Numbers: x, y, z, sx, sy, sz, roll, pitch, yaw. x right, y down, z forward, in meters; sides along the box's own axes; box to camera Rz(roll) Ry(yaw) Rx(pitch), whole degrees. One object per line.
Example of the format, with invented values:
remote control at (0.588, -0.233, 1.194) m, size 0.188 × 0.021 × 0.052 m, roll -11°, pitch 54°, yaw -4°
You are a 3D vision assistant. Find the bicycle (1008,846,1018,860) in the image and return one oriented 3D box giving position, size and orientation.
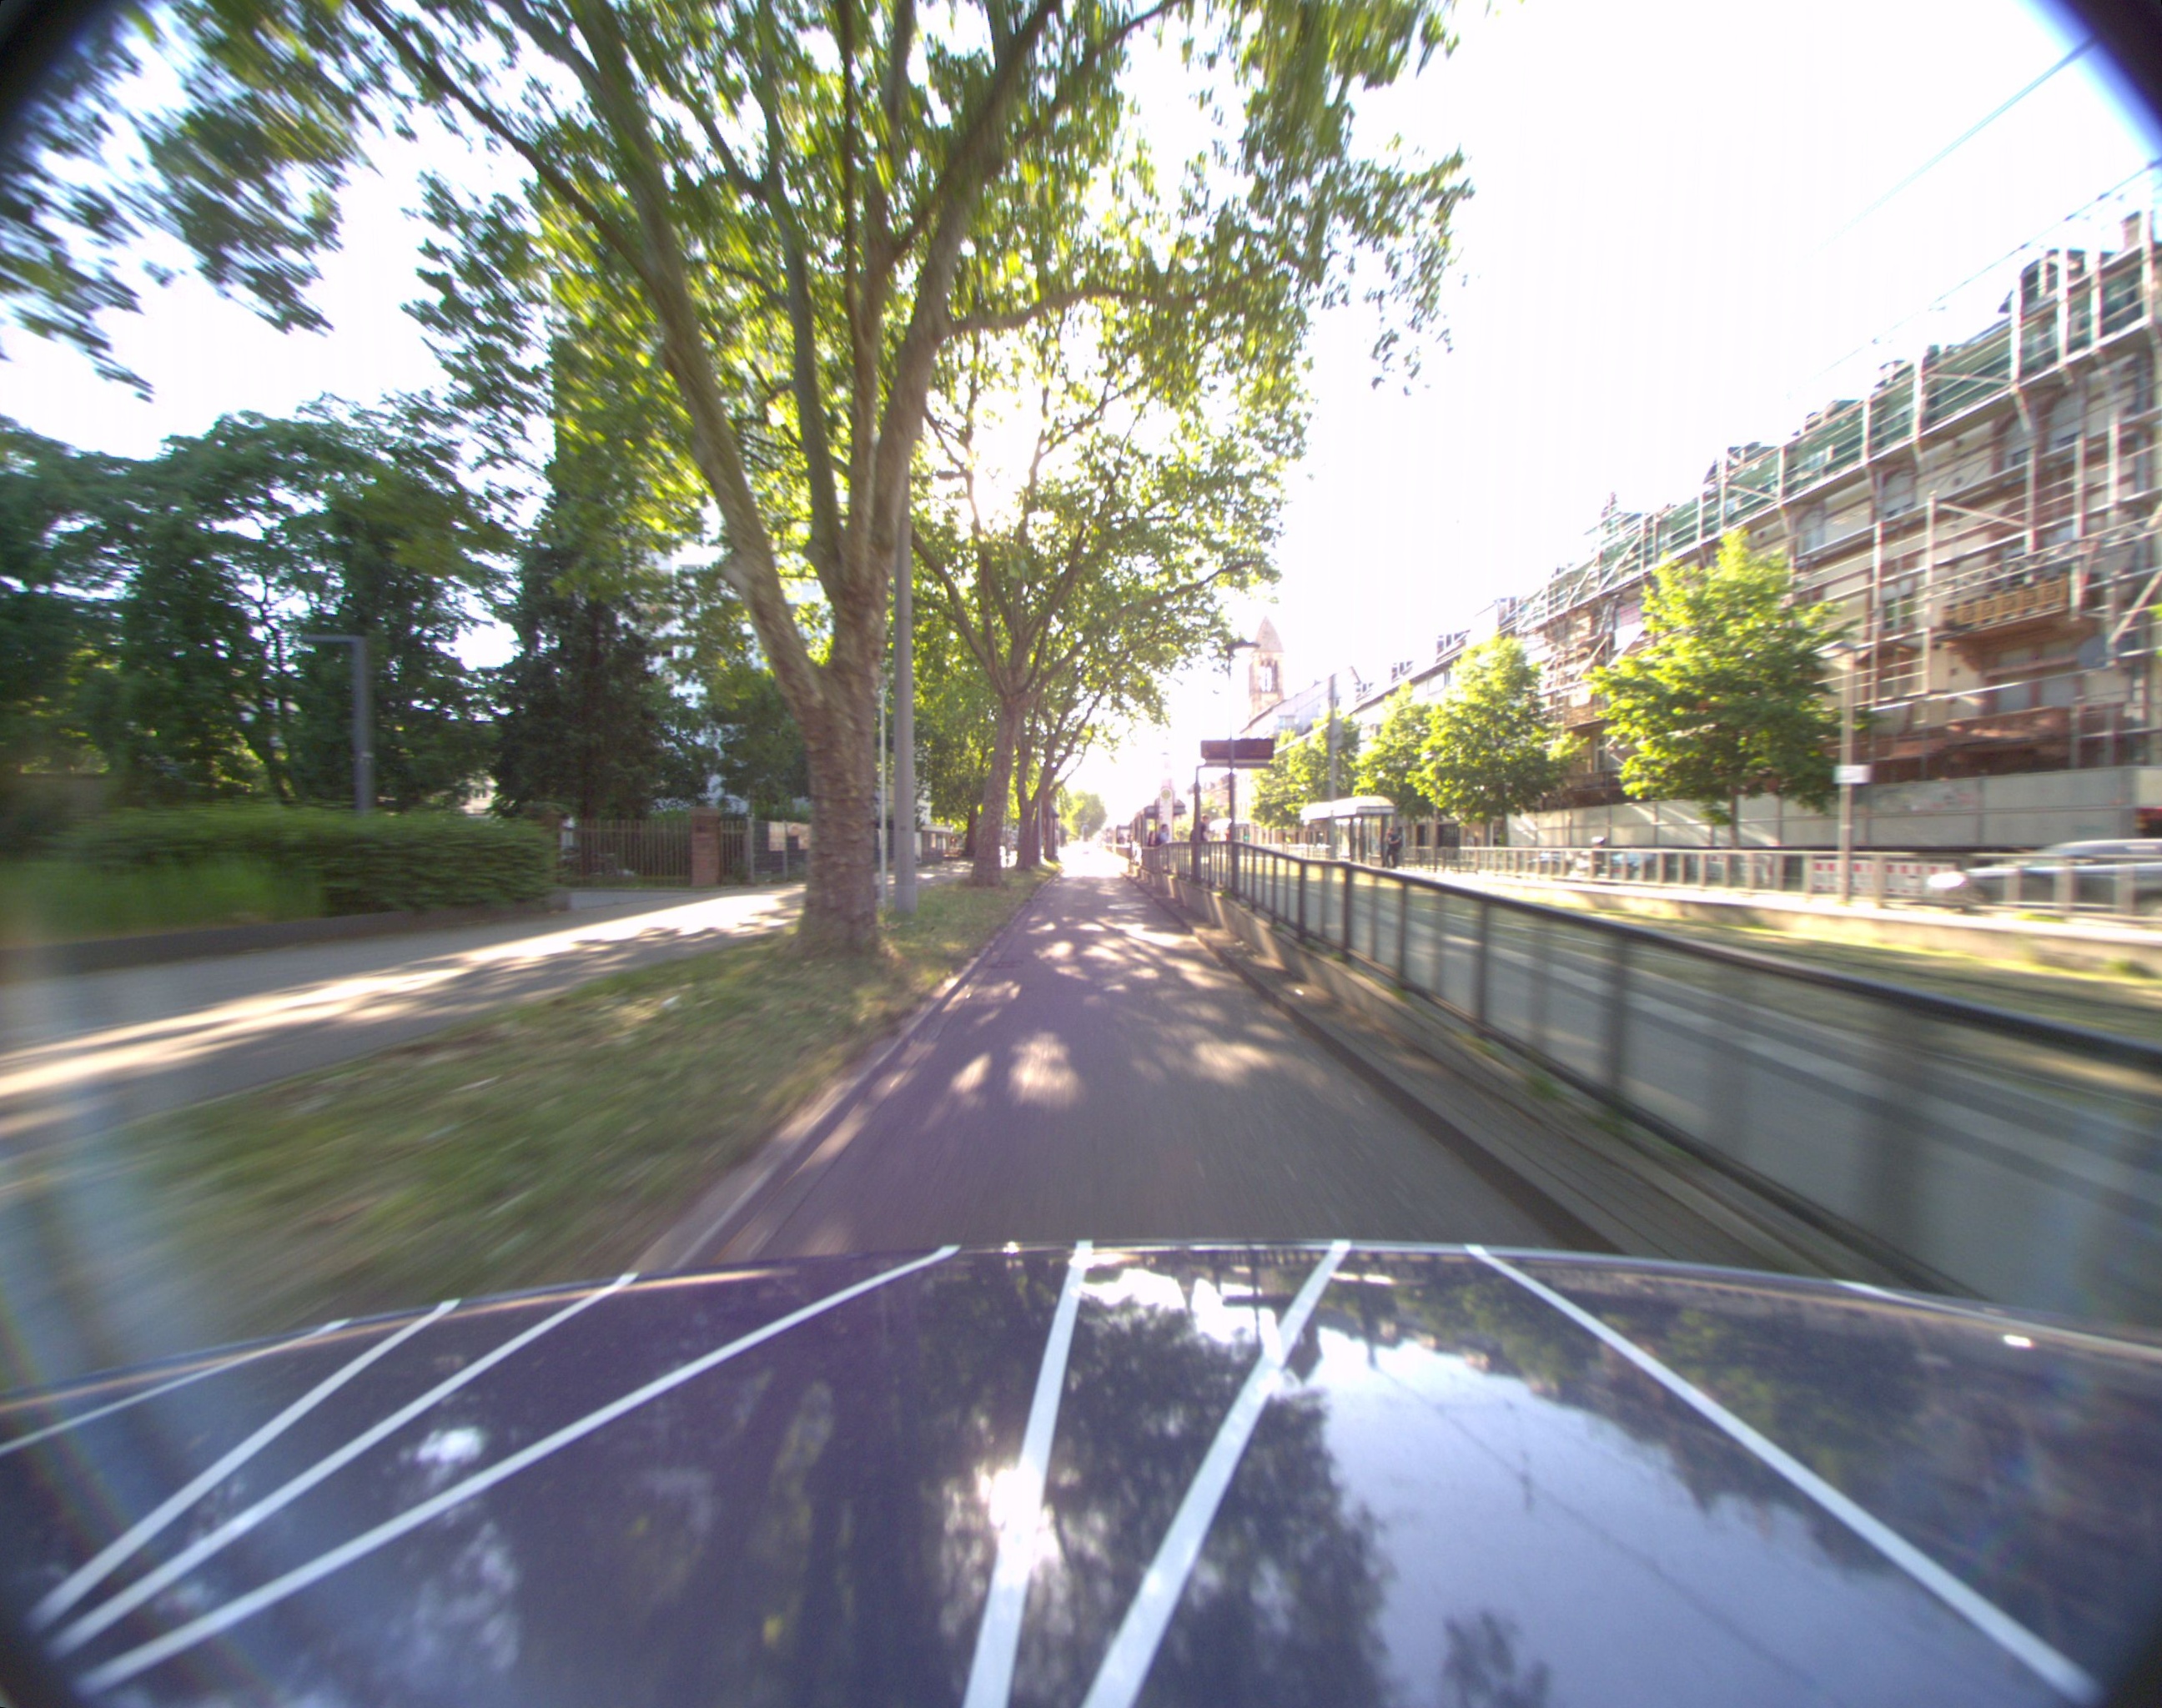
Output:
bicycle at (-4.990, -0.101, 56.112) m, size 0.604 × 1.020 × 1.766 m, roll 0°, pitch 1°, yaw 0°

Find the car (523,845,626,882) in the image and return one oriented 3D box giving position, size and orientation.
car at (-22.353, 0.367, 33.751) m, size 1.999 × 1.445 × 3.998 m, roll -2°, pitch 1°, yaw -3°

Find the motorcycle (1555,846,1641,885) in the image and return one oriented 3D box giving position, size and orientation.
motorcycle at (15.652, 0.314, 23.097) m, size 0.820 × 1.067 × 2.400 m, roll -2°, pitch 1°, yaw -4°

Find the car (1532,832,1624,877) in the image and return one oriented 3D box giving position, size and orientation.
car at (24.147, -0.002, 37.099) m, size 1.998 × 2.002 × 4.000 m, roll -2°, pitch 1°, yaw 2°

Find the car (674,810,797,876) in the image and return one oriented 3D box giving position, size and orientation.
car at (-14.466, -0.493, 32.369) m, size 1.998 × 2.485 × 6.346 m, roll -2°, pitch 1°, yaw 3°

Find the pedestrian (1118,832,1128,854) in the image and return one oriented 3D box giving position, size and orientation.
pedestrian at (3.723, -0.959, 67.008) m, size 0.671 × 1.892 × 0.823 m, roll -2°, pitch 2°, yaw -7°

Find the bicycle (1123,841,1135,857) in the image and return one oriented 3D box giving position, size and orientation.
bicycle at (3.417, -0.363, 54.306) m, size 0.739 × 1.127 × 2.030 m, roll -2°, pitch 1°, yaw 0°

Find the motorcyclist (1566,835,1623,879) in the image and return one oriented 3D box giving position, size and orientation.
motorcyclist at (15.631, 0.072, 23.149) m, size 0.820 × 1.292 × 1.275 m, roll -2°, pitch 2°, yaw -4°

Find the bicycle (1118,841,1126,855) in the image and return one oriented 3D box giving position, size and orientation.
bicycle at (3.235, -0.484, 60.280) m, size 0.514 × 1.127 × 2.103 m, roll -2°, pitch 1°, yaw 0°

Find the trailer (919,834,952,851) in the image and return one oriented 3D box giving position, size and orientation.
trailer at (-21.497, -1.696, 112.066) m, size 4.520 × 2.360 × 1.910 m, roll -1°, pitch 1°, yaw -21°

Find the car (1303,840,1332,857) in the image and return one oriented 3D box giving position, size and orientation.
car at (24.292, -0.570, 78.093) m, size 1.811 × 1.668 × 3.784 m, roll -2°, pitch 1°, yaw 0°

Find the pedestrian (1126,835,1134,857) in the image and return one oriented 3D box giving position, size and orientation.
pedestrian at (3.880, -0.630, 60.088) m, size 0.550 × 1.698 × 0.599 m, roll -2°, pitch 2°, yaw -3°

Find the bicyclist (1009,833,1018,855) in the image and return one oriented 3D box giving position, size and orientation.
bicyclist at (-4.991, -0.742, 56.045) m, size 0.604 × 1.542 × 0.859 m, roll 0°, pitch 2°, yaw 0°

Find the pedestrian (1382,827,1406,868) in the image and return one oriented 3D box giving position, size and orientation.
pedestrian at (13.100, -0.262, 31.765) m, size 0.681 × 1.680 × 0.654 m, roll -2°, pitch 2°, yaw -2°

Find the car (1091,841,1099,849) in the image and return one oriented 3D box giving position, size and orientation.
car at (2.889, -1.891, 154.682) m, size 1.636 × 1.491 × 3.999 m, roll 0°, pitch 1°, yaw 0°

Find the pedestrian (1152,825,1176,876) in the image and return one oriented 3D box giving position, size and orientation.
pedestrian at (2.857, -0.129, 26.299) m, size 0.681 × 1.680 × 0.894 m, roll -2°, pitch 2°, yaw 1°

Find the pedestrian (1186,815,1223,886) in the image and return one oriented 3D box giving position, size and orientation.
pedestrian at (3.053, -0.093, 18.812) m, size 0.758 × 1.680 × 0.678 m, roll -2°, pitch 2°, yaw 1°

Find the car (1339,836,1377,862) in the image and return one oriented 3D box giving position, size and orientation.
car at (24.219, -0.440, 66.527) m, size 1.945 × 2.154 × 3.784 m, roll -2°, pitch 1°, yaw 0°

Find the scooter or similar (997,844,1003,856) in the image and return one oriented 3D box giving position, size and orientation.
scooter or similar at (-8.557, -0.408, 80.498) m, size 0.562 × 1.250 × 1.289 m, roll 1°, pitch 2°, yaw -3°

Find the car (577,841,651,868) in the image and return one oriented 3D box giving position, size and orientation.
car at (-27.760, -0.014, 45.347) m, size 1.999 × 1.445 × 3.998 m, roll -2°, pitch 1°, yaw -3°

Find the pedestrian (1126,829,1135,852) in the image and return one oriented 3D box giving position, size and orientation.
pedestrian at (4.016, -1.088, 61.375) m, size 0.600 × 1.790 × 0.824 m, roll -2°, pitch 2°, yaw 6°

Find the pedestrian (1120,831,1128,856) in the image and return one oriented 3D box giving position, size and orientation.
pedestrian at (3.509, -0.890, 61.976) m, size 0.600 × 1.985 × 0.824 m, roll -2°, pitch 2°, yaw 6°

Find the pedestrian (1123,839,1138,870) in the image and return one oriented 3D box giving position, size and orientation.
pedestrian at (2.798, 0.021, 42.986) m, size 0.766 × 1.749 × 0.695 m, roll -2°, pitch 2°, yaw 0°

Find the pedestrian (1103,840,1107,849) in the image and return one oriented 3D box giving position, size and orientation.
pedestrian at (4.611, -1.843, 146.943) m, size 0.679 × 1.612 × 0.925 m, roll -2°, pitch 2°, yaw -2°

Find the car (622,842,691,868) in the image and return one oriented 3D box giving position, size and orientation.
car at (-25.370, 0.021, 45.569) m, size 1.999 × 1.445 × 3.998 m, roll -2°, pitch 1°, yaw -3°

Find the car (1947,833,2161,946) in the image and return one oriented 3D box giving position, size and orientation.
car at (18.676, 0.552, 13.584) m, size 1.868 × 1.796 × 4.027 m, roll -2°, pitch 1°, yaw 2°
